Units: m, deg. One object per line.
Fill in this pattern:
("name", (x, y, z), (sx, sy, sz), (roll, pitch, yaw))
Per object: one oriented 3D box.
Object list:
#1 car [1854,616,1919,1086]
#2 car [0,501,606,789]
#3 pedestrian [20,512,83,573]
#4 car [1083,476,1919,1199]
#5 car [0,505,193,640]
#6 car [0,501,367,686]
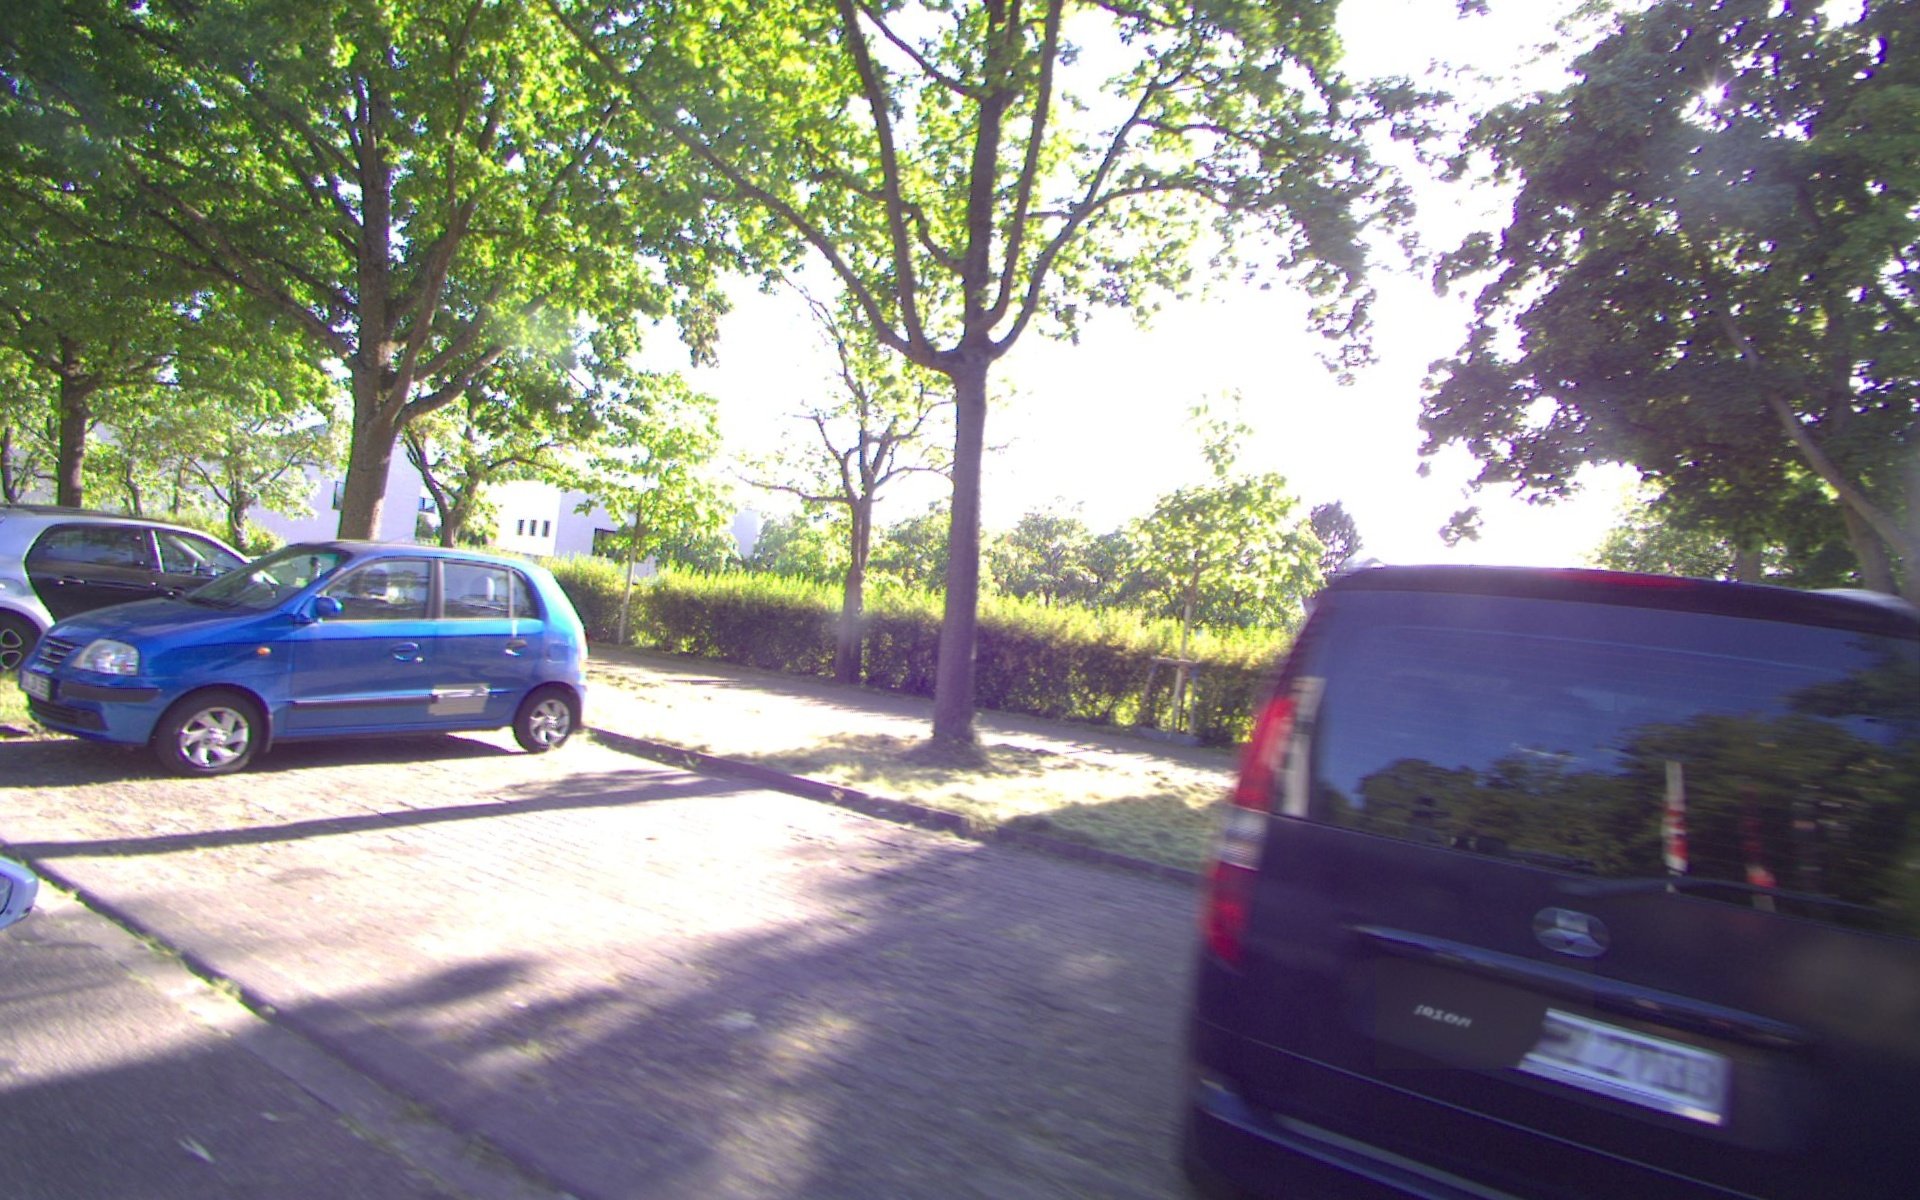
("car", (4.332, 1.033, 2.606), (1.911, 2.056, 4.811), (6, -1, 30))
("car", (-4.680, 0.318, 7.464), (1.638, 1.551, 3.524), (6, 0, 32))
("pedestrian", (-24.745, -1.542, 27.418), (0.872, 1.519, 0.939), (6, 0, -18))
("car", (2.065, 0.840, 3.659), (1.768, 1.859, 4.016), (6, 0, 28))
("car", (-12.408, -0.424, 12.894), (1.826, 1.596, 3.588), (6, 0, 30))
("car", (-8.343, -0.042, 10.146), (1.757, 1.596, 3.586), (6, 0, 32))
